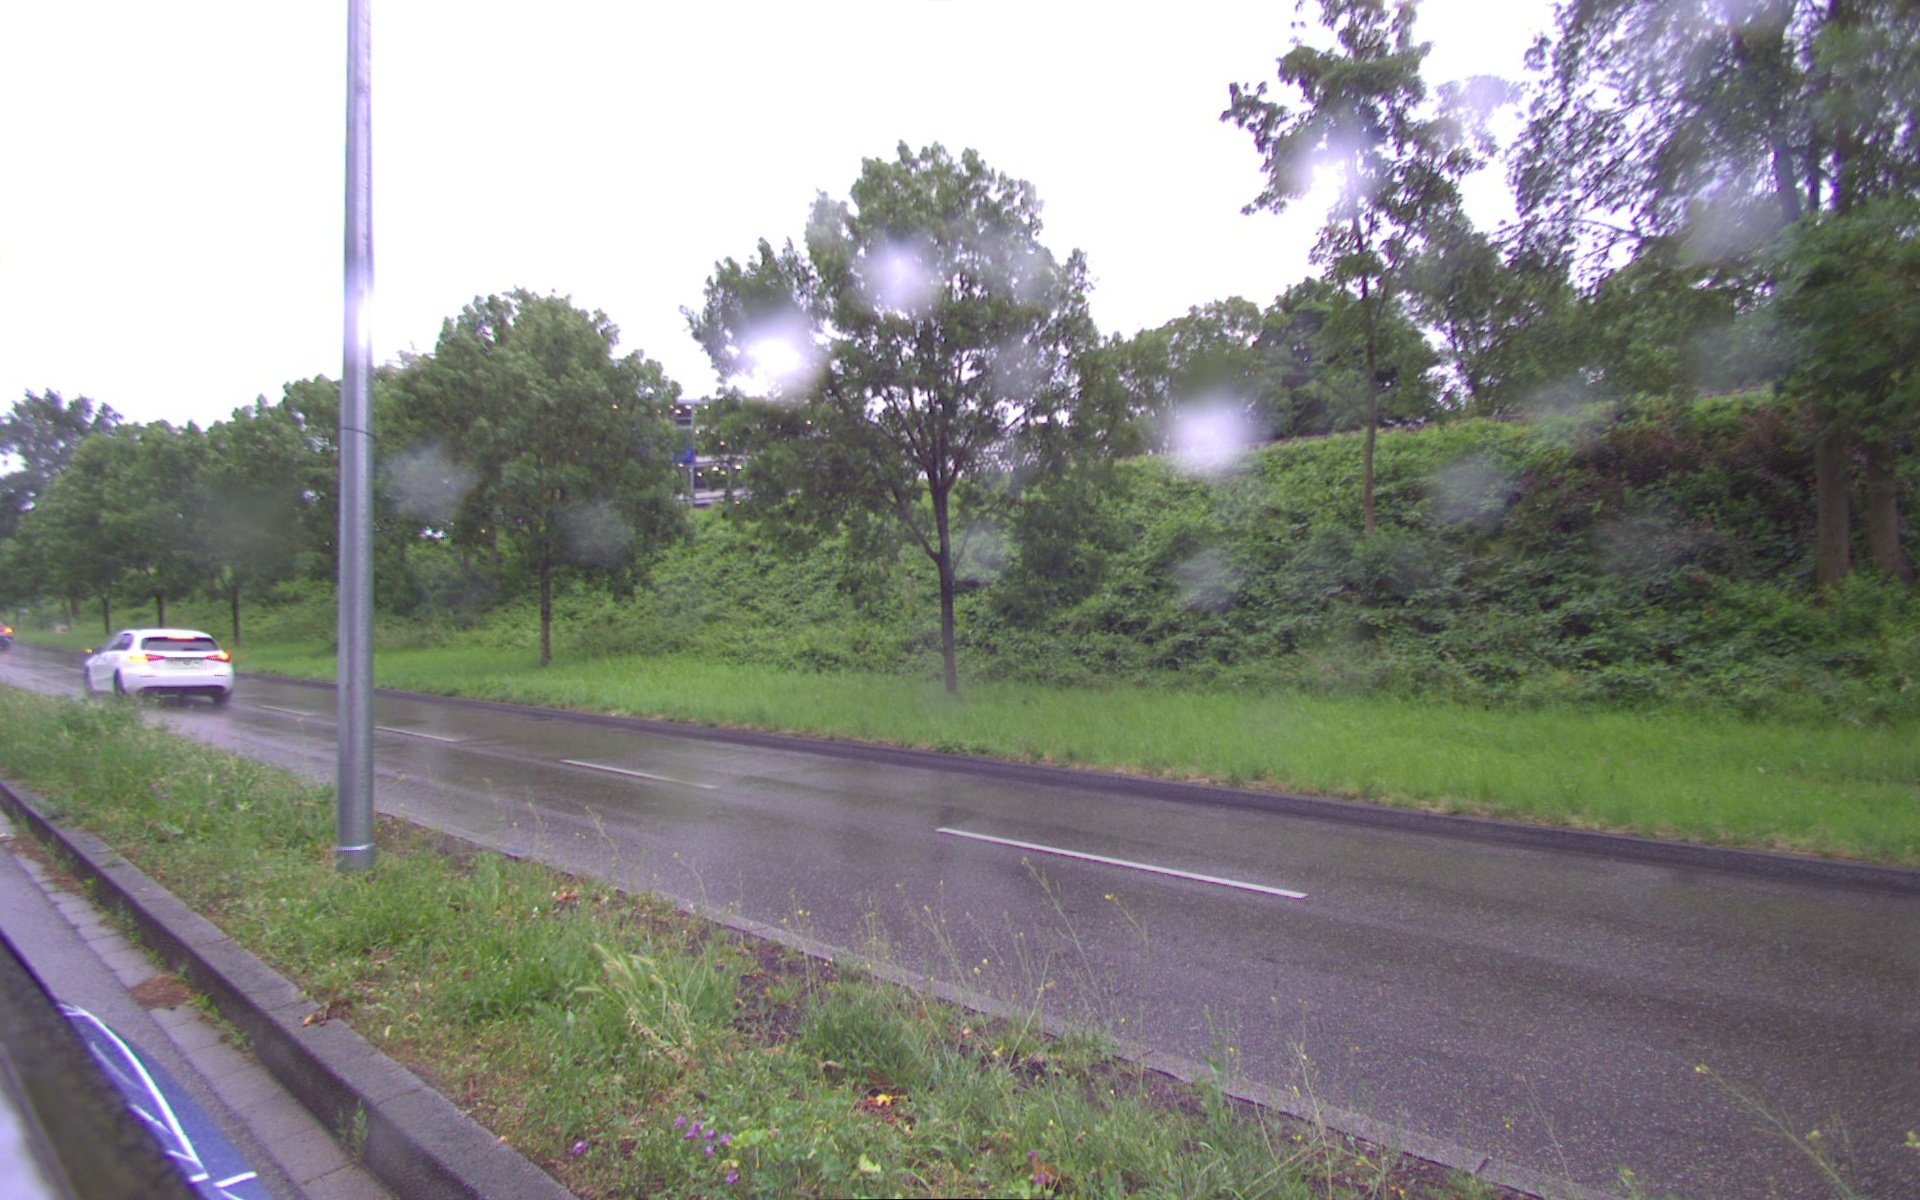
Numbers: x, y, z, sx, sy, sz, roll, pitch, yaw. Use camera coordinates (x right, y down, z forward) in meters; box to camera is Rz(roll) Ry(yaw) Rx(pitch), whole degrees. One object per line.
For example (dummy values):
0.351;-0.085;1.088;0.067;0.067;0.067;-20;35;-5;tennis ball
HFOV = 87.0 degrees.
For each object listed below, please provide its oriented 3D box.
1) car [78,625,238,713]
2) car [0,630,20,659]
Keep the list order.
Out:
-16.082;1.332;20.219;4.045;1.531;1.716;0;-4;41;car
-53.679;2.442;56.027;4.299;1.531;1.867;-2;-4;41;car
